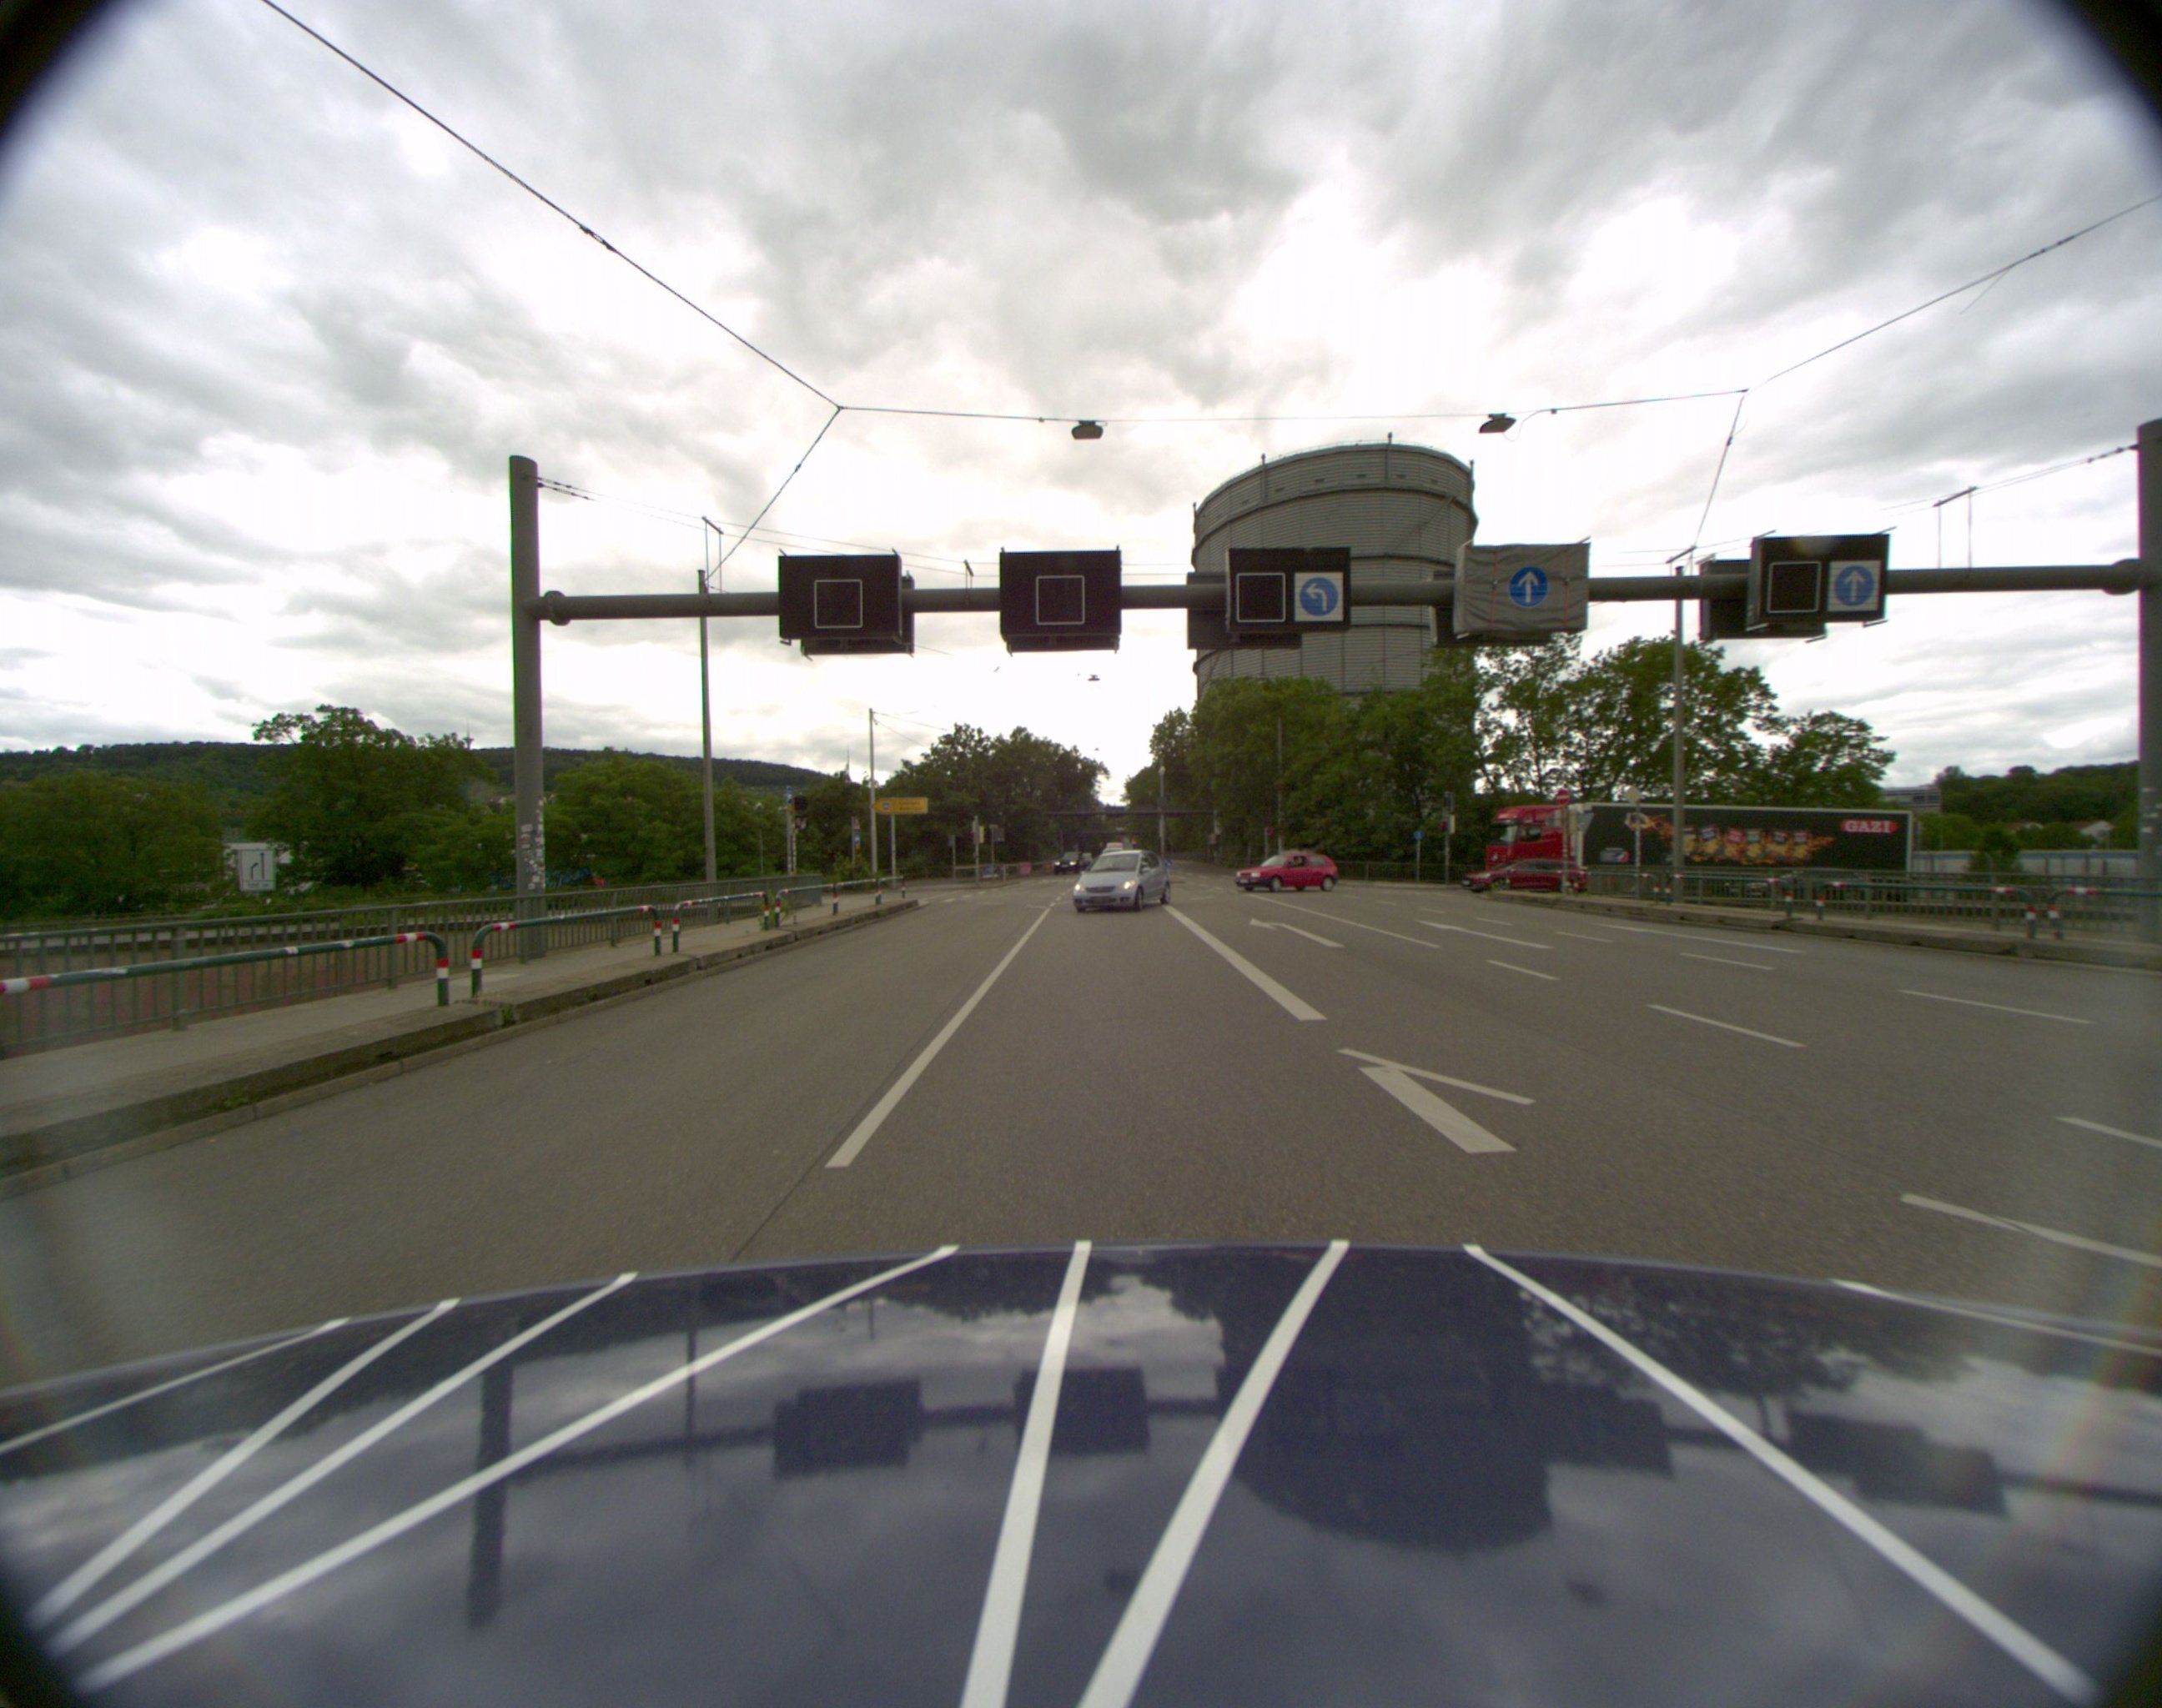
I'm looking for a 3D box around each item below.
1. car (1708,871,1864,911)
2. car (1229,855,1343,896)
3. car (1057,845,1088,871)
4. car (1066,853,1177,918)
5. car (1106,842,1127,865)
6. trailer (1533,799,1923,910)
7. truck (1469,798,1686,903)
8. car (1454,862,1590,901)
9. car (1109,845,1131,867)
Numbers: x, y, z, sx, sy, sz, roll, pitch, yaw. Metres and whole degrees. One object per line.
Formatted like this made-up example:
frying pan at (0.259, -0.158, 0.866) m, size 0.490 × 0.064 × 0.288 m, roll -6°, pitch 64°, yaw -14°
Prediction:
car at (27.965, 1.439, 30.257) m, size 4.462 × 1.412 × 1.698 m, roll 1°, pitch 0°, yaw 4°
car at (7.754, 0.846, 28.774) m, size 3.960 × 1.454 × 1.745 m, roll 1°, pitch -2°, yaw -23°
car at (-0.642, 0.308, 62.960) m, size 2.331 × 1.905 × 4.947 m, roll 0°, pitch 2°, yaw 1°
car at (1.207, 0.801, 20.928) m, size 1.744 × 1.594 × 3.689 m, roll 1°, pitch 0°, yaw 25°
car at (4.056, -0.076, 87.043) m, size 2.331 × 2.509 × 4.949 m, roll 1°, pitch 0°, yaw 2°
trailer at (28.348, 0.010, 33.938) m, size 13.768 × 4.296 × 3.672 m, roll 2°, pitch 0°, yaw 3°
truck at (22.055, -0.149, 34.199) m, size 7.228 × 4.296 × 3.672 m, roll 2°, pitch 0°, yaw 3°
car at (17.731, 1.082, 30.707) m, size 4.464 × 1.412 × 1.698 m, roll -1°, pitch 0°, yaw 2°
car at (3.608, 0.219, 70.988) m, size 1.933 × 1.987 × 4.453 m, roll 0°, pitch -1°, yaw 1°
